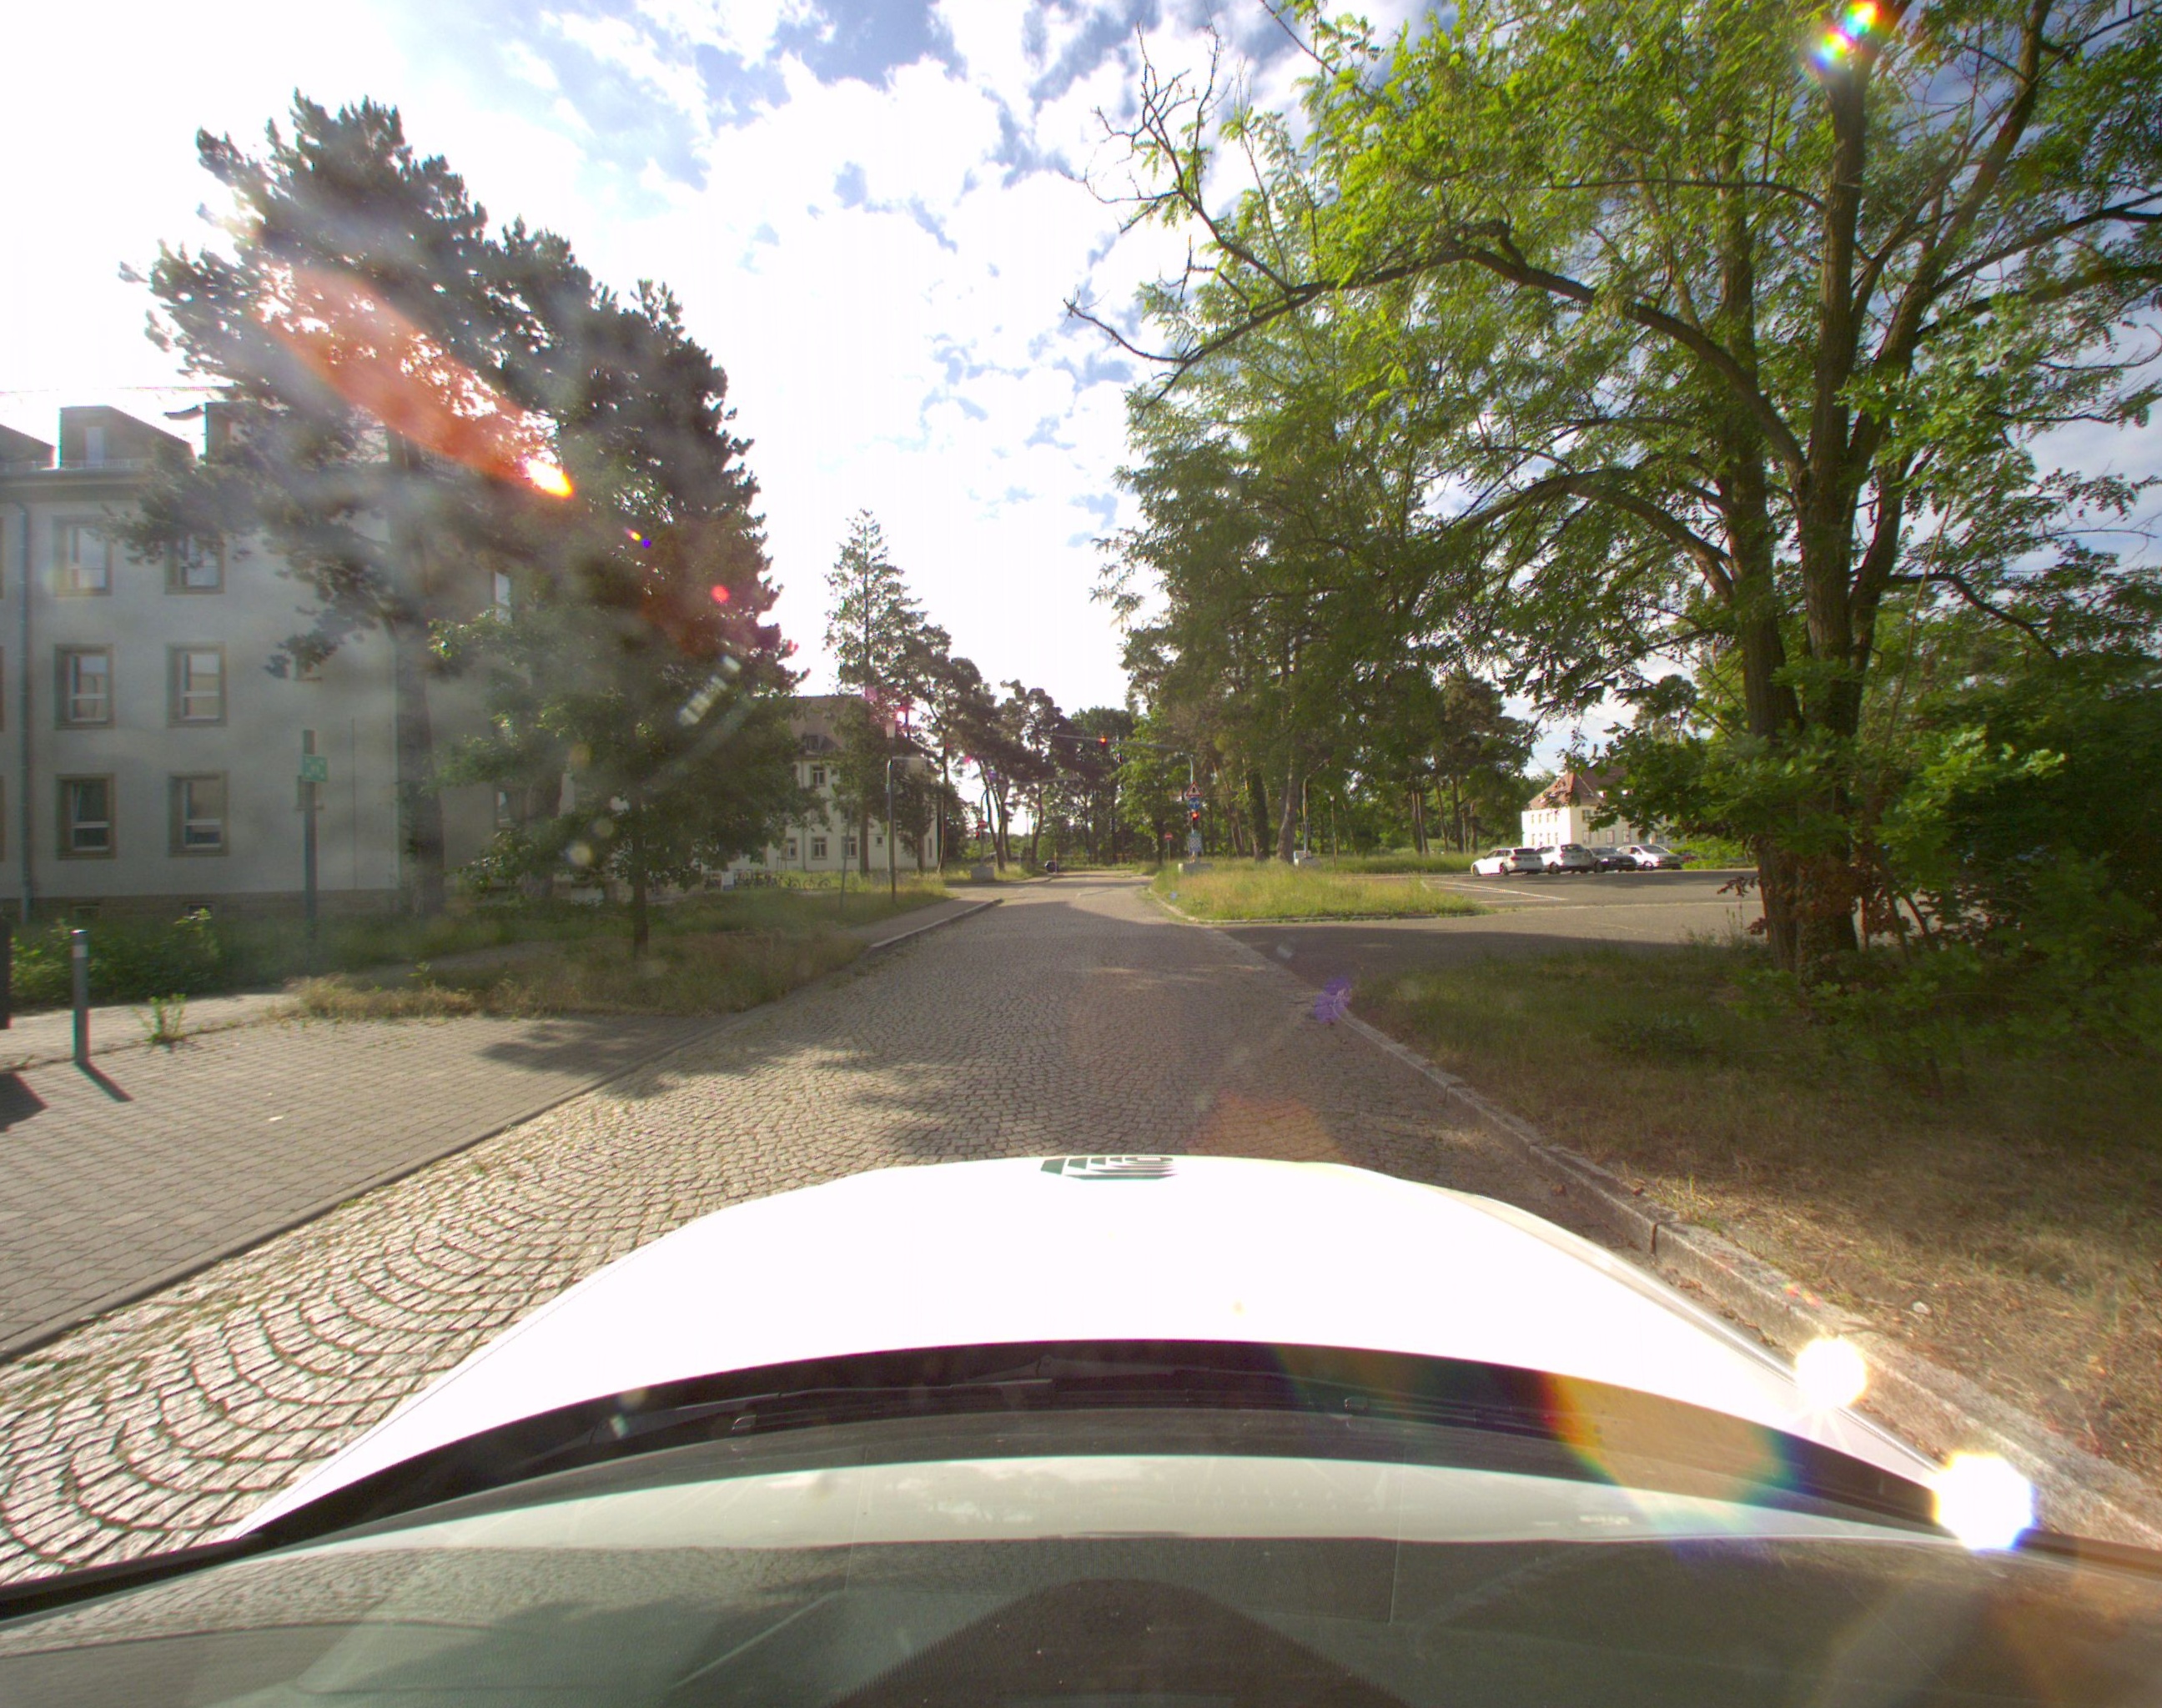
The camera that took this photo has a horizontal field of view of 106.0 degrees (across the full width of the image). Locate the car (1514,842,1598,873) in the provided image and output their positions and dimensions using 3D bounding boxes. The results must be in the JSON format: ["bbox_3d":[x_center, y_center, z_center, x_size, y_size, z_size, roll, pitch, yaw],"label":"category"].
[{"bbox_3d":[24.701,0.201,42.542,1.726,1.476,4.328,-2,0,-2],"label":"car"}]

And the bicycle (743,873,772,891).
[{"bbox_3d":[-19.834,1.695,49.978,0.823,1.047,2.124,-2,0,1],"label":"bicycle"}]

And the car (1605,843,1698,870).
[{"bbox_3d":[30.056,0.155,43.087,1.726,1.312,4.328,-2,0,-2],"label":"car"}]

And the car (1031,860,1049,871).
[{"bbox_3d":[-5.584,1.556,110.980,1.772,1.490,3.764,-2,0,8],"label":"car"}]

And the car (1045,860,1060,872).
[{"bbox_3d":[-3.669,1.529,106.205,1.840,1.486,3.998,-2,0,-1],"label":"car"}]

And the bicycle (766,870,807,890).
[{"bbox_3d":[-17.629,1.548,48.755,2.112,1.108,0.828,-2,-1,-3],"label":"bicycle"}]

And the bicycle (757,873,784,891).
[{"bbox_3d":[-19.052,1.693,50.015,0.823,1.047,2.124,-2,0,1],"label":"bicycle"}]

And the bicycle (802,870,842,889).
[{"bbox_3d":[-15.507,1.538,48.834,2.112,1.047,0.828,-2,-1,-3],"label":"bicycle"}]

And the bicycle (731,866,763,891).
[{"bbox_3d":[-20.621,1.492,50.327,0.823,1.437,2.554,-2,0,1],"label":"bicycle"}]

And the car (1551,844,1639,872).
[{"bbox_3d":[26.989,0.201,42.914,1.727,1.312,4.328,-3,0,-2],"label":"car"}]

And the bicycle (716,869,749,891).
[{"bbox_3d":[-21.397,1.584,50.030,0.823,1.281,2.554,-2,0,1],"label":"bicycle"}]

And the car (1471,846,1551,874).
[{"bbox_3d":[22.183,0.296,42.253,1.726,1.312,4.328,-2,0,-2],"label":"car"}]

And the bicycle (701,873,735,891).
[{"bbox_3d":[-22.295,1.704,50.035,0.897,1.047,2.554,-2,0,1],"label":"bicycle"}]
